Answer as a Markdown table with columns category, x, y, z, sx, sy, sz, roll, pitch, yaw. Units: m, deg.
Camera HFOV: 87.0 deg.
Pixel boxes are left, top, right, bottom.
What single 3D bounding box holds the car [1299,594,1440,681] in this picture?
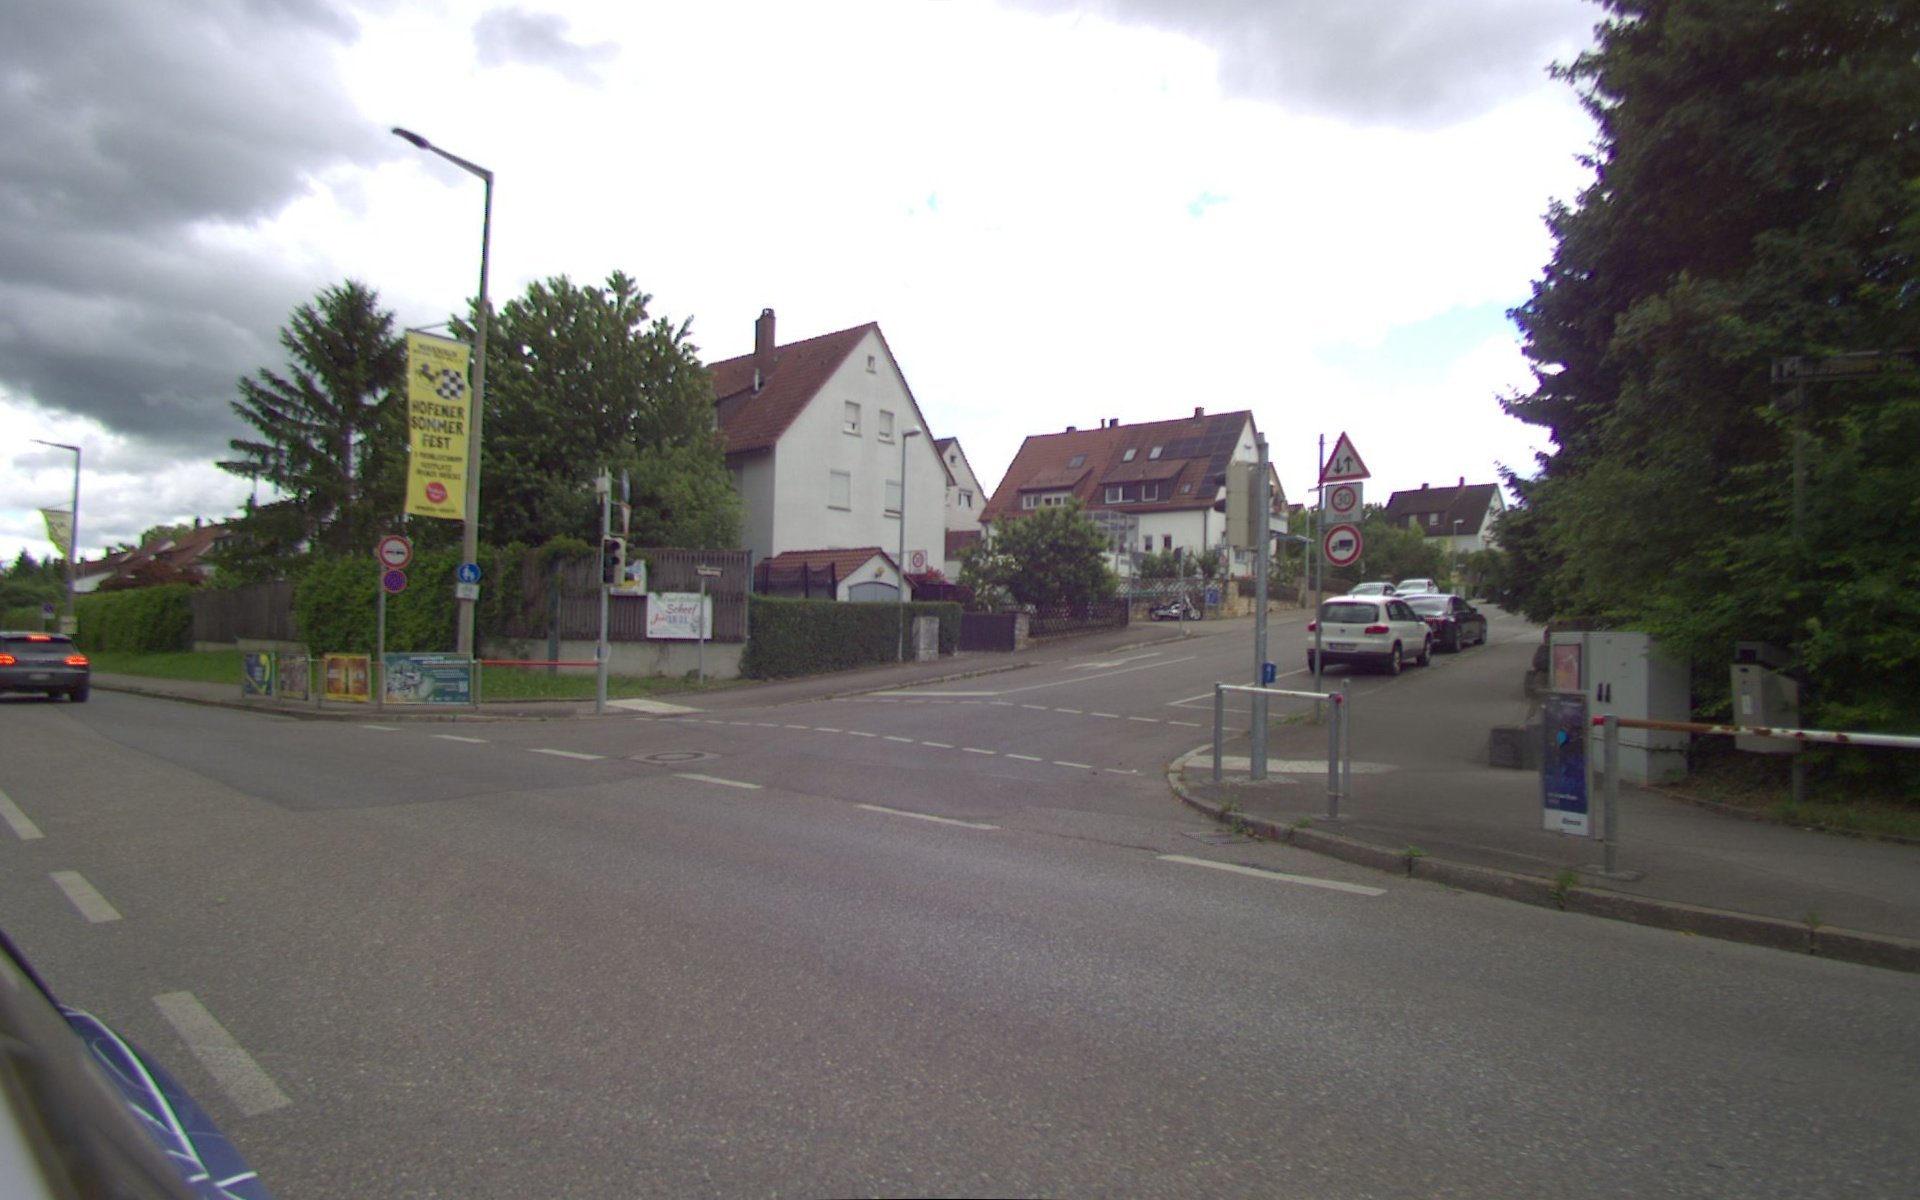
| category | x | y | z | sx | sy | sz | roll | pitch | yaw |
| --- | --- | --- | --- | --- | --- | --- | --- | --- | --- |
| car | 9.116 | 0.738 | 22.368 | 1.914 | 1.653 | 3.950 | 0 | 2 | 38 |

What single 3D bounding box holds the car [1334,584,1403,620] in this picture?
| category | x | y | z | sx | sy | sz | roll | pitch | yaw |
| --- | --- | --- | --- | --- | --- | --- | --- | --- | --- |
| car | 18.517 | 0.074 | 45.802 | 1.798 | 1.521 | 3.948 | -1 | 1 | 39 |

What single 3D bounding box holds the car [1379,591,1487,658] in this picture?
| category | x | y | z | sx | sy | sz | roll | pitch | yaw |
| --- | --- | --- | --- | --- | --- | --- | --- | --- | --- |
| car | 12.770 | 0.603 | 27.196 | 1.797 | 1.521 | 3.950 | -2 | 1 | 38 |

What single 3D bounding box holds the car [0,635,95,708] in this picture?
| category | x | y | z | sx | sy | sz | roll | pitch | yaw |
| --- | --- | --- | --- | --- | --- | --- | --- | --- | --- |
| car | -22.261 | 1.675 | 24.038 | 4.275 | 1.591 | 1.880 | -2 | -5 | 40 |

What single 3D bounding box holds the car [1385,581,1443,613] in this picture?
| category | x | y | z | sx | sy | sz | roll | pitch | yaw |
| --- | --- | --- | --- | --- | --- | --- | --- | --- | --- |
| car | 23.632 | -0.176 | 52.612 | 1.799 | 1.521 | 3.947 | -1 | 1 | 40 |

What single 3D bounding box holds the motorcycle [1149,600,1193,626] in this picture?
| category | x | y | z | sx | sy | sz | roll | pitch | yaw |
| --- | --- | --- | --- | --- | --- | --- | --- | --- | --- |
| motorcycle | 9.162 | 0.562 | 43.968 | 1.789 | 1.116 | 0.496 | -2 | -1 | 24 |

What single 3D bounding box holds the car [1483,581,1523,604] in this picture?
| category | x | y | z | sx | sy | sz | roll | pitch | yaw |
| --- | --- | --- | --- | --- | --- | --- | --- | --- | --- |
| car | 39.013 | -0.554 | 72.675 | 1.799 | 1.521 | 3.947 | -1 | 1 | 40 |
